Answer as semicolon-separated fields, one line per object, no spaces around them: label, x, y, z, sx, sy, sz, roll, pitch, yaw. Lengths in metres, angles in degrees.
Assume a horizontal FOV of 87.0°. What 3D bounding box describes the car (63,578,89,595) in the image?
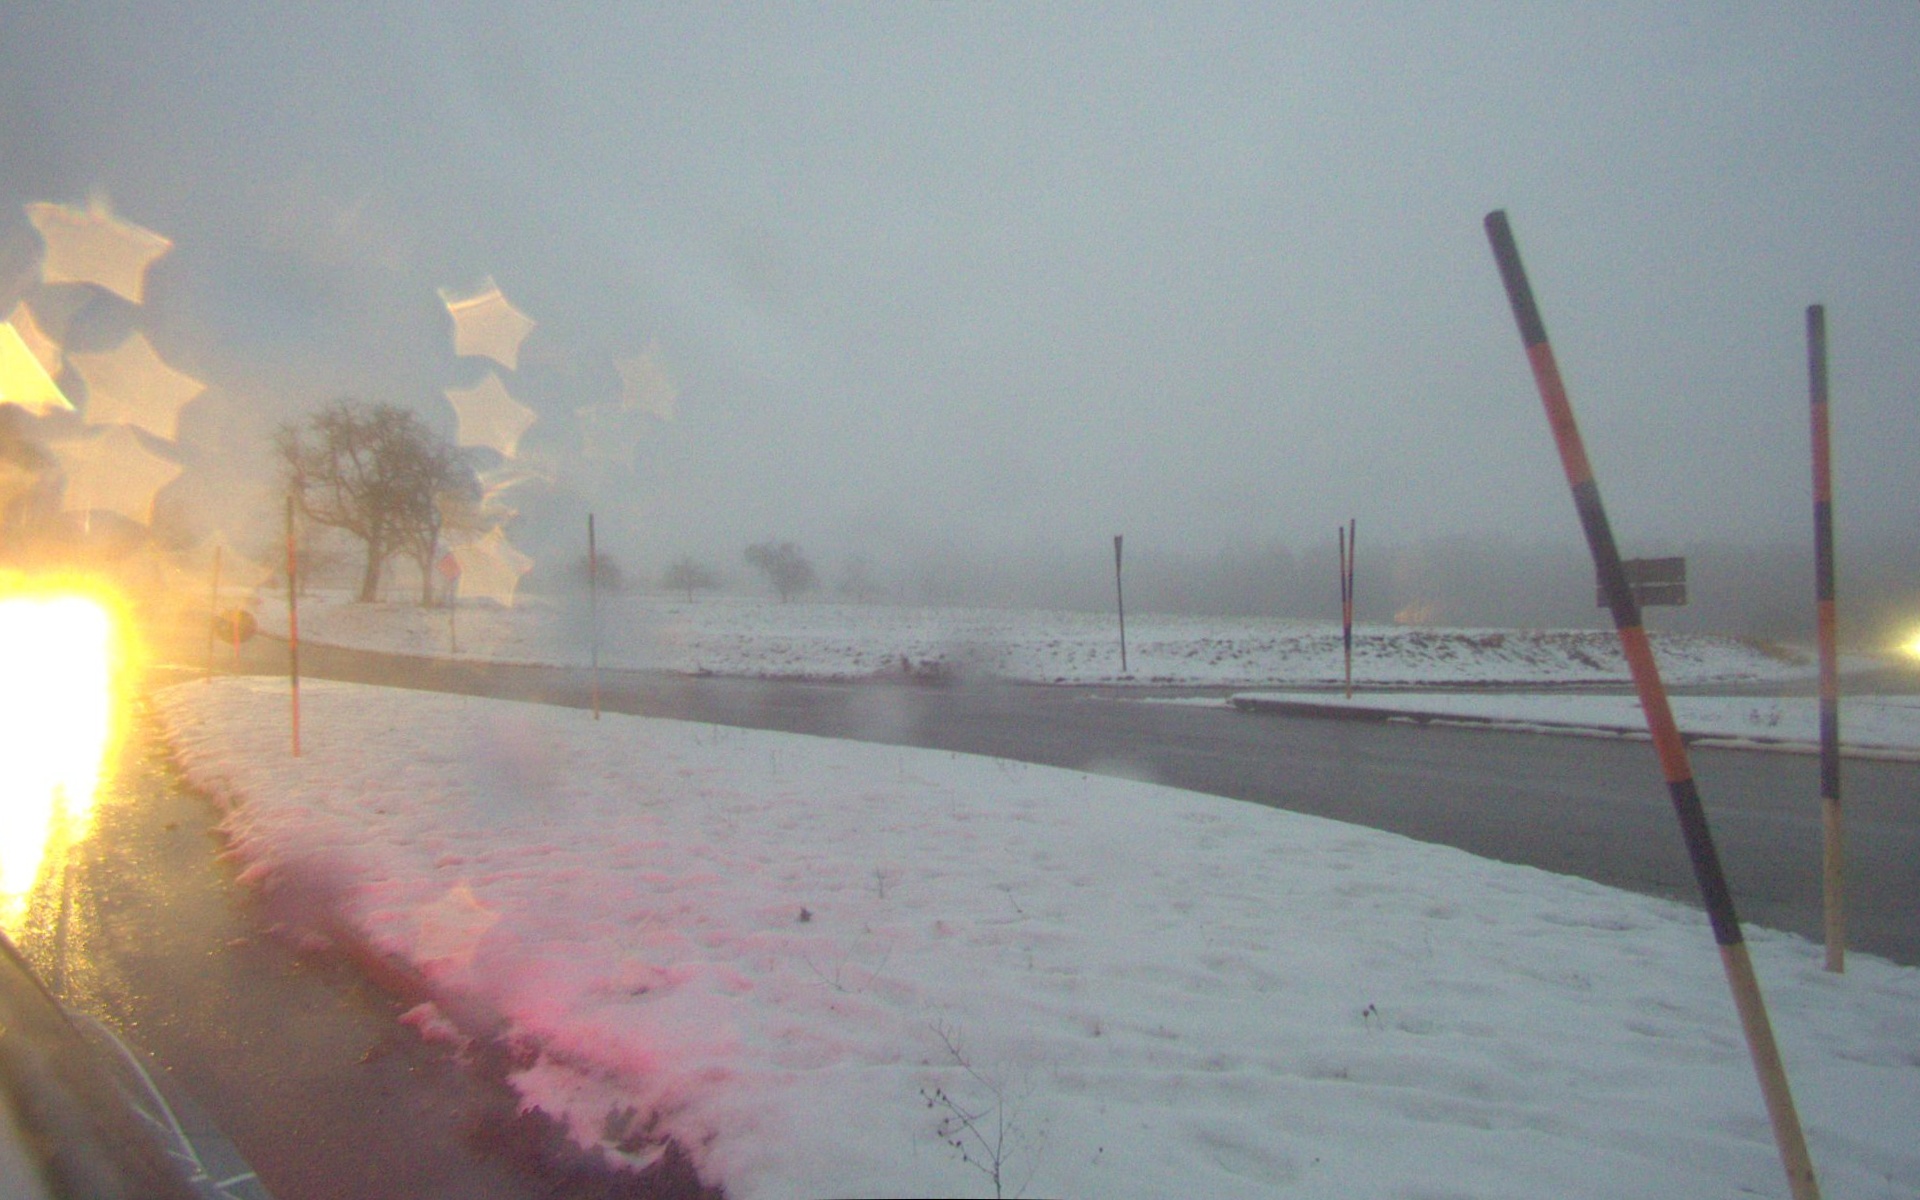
car;-99.172;-1.522;113.495;1.970;1.820;4.003;-1;1;-44

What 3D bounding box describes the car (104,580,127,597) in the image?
car;-94.172;-1.316;112.866;1.969;1.820;4.006;-1;1;-41

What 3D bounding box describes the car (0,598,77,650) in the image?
car;-27.501;0.674;30.197;1.699;1.445;3.682;-1;0;-41
